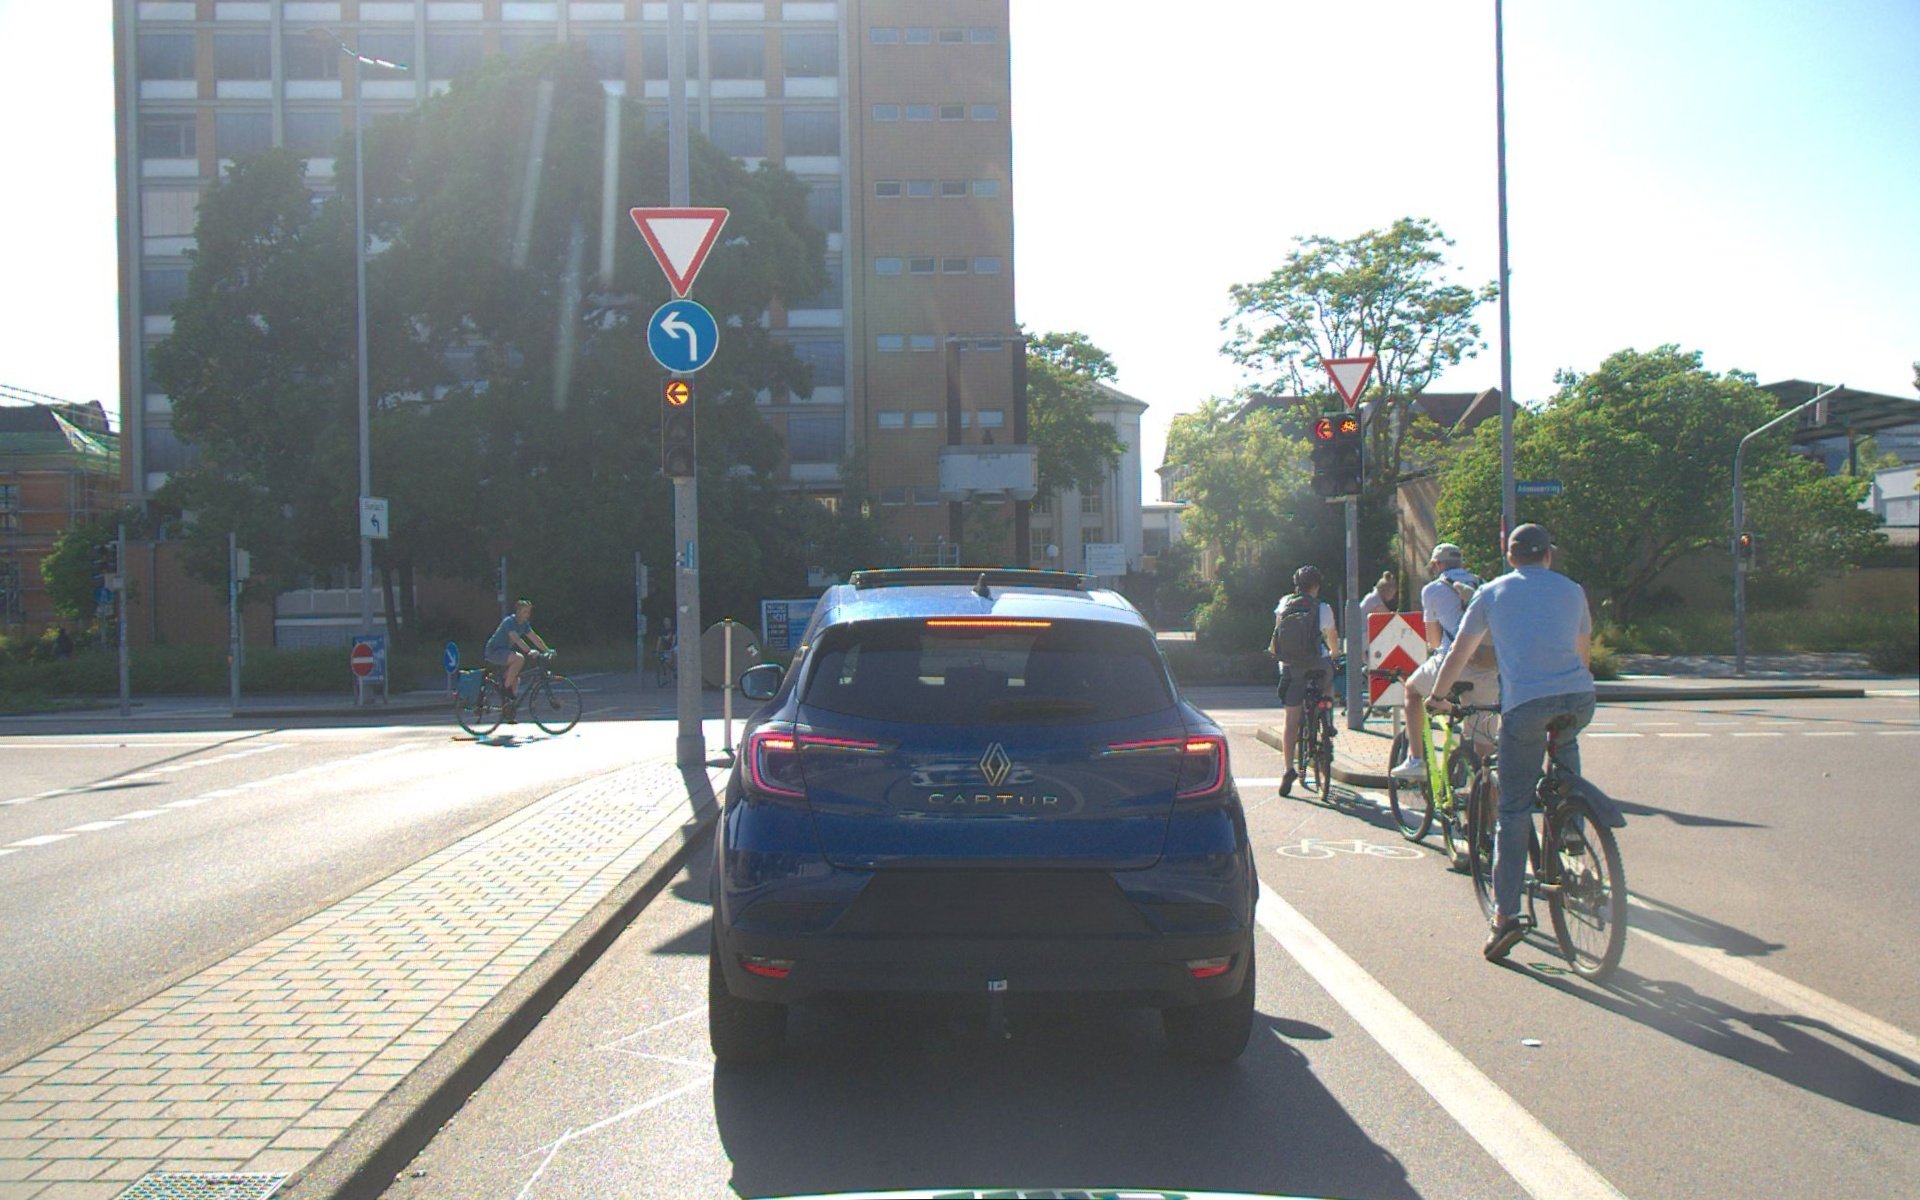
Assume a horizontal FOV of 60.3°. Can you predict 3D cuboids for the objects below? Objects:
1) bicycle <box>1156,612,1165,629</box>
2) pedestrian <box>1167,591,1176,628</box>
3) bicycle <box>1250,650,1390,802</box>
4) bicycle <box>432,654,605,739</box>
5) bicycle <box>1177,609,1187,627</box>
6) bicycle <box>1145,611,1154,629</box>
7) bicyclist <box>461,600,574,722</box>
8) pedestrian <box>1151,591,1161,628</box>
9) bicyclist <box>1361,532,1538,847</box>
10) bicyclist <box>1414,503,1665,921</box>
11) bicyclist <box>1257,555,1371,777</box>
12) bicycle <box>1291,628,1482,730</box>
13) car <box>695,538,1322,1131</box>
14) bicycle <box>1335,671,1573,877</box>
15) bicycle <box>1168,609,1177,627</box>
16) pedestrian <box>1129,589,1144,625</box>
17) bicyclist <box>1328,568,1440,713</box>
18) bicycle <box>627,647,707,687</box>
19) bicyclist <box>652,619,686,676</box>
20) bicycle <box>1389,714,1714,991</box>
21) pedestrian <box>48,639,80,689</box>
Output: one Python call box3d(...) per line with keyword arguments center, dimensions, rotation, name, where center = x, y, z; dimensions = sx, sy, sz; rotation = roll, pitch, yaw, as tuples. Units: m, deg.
box3d(center=(11.406, 1.155, 94.188), dimensions=(0.397, 0.990, 1.684), rotation=(1, 0, 3), name="bicycle")
box3d(center=(11.829, 0.539, 92.562), dimensions=(0.465, 2.049, 0.468), rotation=(-1, 0, 5), name="pedestrian")
box3d(center=(2.763, 0.935, 12.923), dimensions=(0.723, 1.012, 2.174), rotation=(1, 0, 3), name="bicycle")
box3d(center=(-5.477, 1.197, 20.531), dimensions=(1.942, 0.934, 0.688), rotation=(-3, -1, 12), name="bicycle")
box3d(center=(12.682, 1.032, 94.589), dimensions=(0.397, 0.990, 1.684), rotation=(1, 0, 3), name="bicycle")
box3d(center=(10.796, 1.145, 94.222), dimensions=(0.397, 0.990, 1.684), rotation=(1, 0, 3), name="bicycle")
box3d(center=(-5.489, 0.752, 20.542), dimensions=(1.100, 1.447, 0.688), rotation=(-3, -1, 12), name="bicyclist")
box3d(center=(10.798, 0.515, 91.195), dimensions=(0.465, 2.049, 0.523), rotation=(-1, 0, 5), name="pedestrian")
box3d(center=(2.884, 0.508, 9.841), dimensions=(0.633, 1.769, 1.065), rotation=(1, 0, -6), name="bicyclist")
box3d(center=(2.510, 0.458, 7.271), dimensions=(0.736, 1.698, 1.016), rotation=(1, 0, 0), name="bicyclist")
box3d(center=(2.761, 0.500, 12.974), dimensions=(0.711, 1.657, 0.969), rotation=(1, 0, 3), name="bicyclist")
box3d(center=(4.707, 0.865, 18.374), dimensions=(1.942, 1.012, 0.742), rotation=(-3, -1, 8), name="bicycle")
box3d(center=(0.063, 0.667, 6.681), dimensions=(1.767, 1.660, 3.998), rotation=(1, 0, -3), name="car")
box3d(center=(2.873, 0.977, 9.844), dimensions=(0.646, 1.020, 1.967), rotation=(1, 0, -6), name="bicycle")
box3d(center=(12.157, 1.023, 94.567), dimensions=(0.397, 0.990, 1.684), rotation=(1, 0, 3), name="bicycle")
box3d(center=(9.981, 0.406, 93.522), dimensions=(0.841, 2.049, 0.468), rotation=(-1, 0, 5), name="pedestrian")
box3d(center=(4.694, 0.443, 18.377), dimensions=(1.046, 1.526, 0.742), rotation=(-3, -1, 7), name="bicyclist")
box3d(center=(-7.718, 1.764, 43.618), dimensions=(1.982, 0.981, 0.593), rotation=(-1, 0, -28), name="bicycle")
box3d(center=(-7.670, 1.240, 43.645), dimensions=(0.728, 1.466, 0.593), rotation=(-1, 0, -27), name="bicyclist")
box3d(center=(2.505, 1.028, 7.273), dimensions=(0.725, 0.911, 1.978), rotation=(1, 0, 0), name="bicycle")
box3d(center=(-29.644, 2.124, 54.742), dimensions=(0.722, 1.631, 0.598), rotation=(-1, 0, 23), name="pedestrian")
